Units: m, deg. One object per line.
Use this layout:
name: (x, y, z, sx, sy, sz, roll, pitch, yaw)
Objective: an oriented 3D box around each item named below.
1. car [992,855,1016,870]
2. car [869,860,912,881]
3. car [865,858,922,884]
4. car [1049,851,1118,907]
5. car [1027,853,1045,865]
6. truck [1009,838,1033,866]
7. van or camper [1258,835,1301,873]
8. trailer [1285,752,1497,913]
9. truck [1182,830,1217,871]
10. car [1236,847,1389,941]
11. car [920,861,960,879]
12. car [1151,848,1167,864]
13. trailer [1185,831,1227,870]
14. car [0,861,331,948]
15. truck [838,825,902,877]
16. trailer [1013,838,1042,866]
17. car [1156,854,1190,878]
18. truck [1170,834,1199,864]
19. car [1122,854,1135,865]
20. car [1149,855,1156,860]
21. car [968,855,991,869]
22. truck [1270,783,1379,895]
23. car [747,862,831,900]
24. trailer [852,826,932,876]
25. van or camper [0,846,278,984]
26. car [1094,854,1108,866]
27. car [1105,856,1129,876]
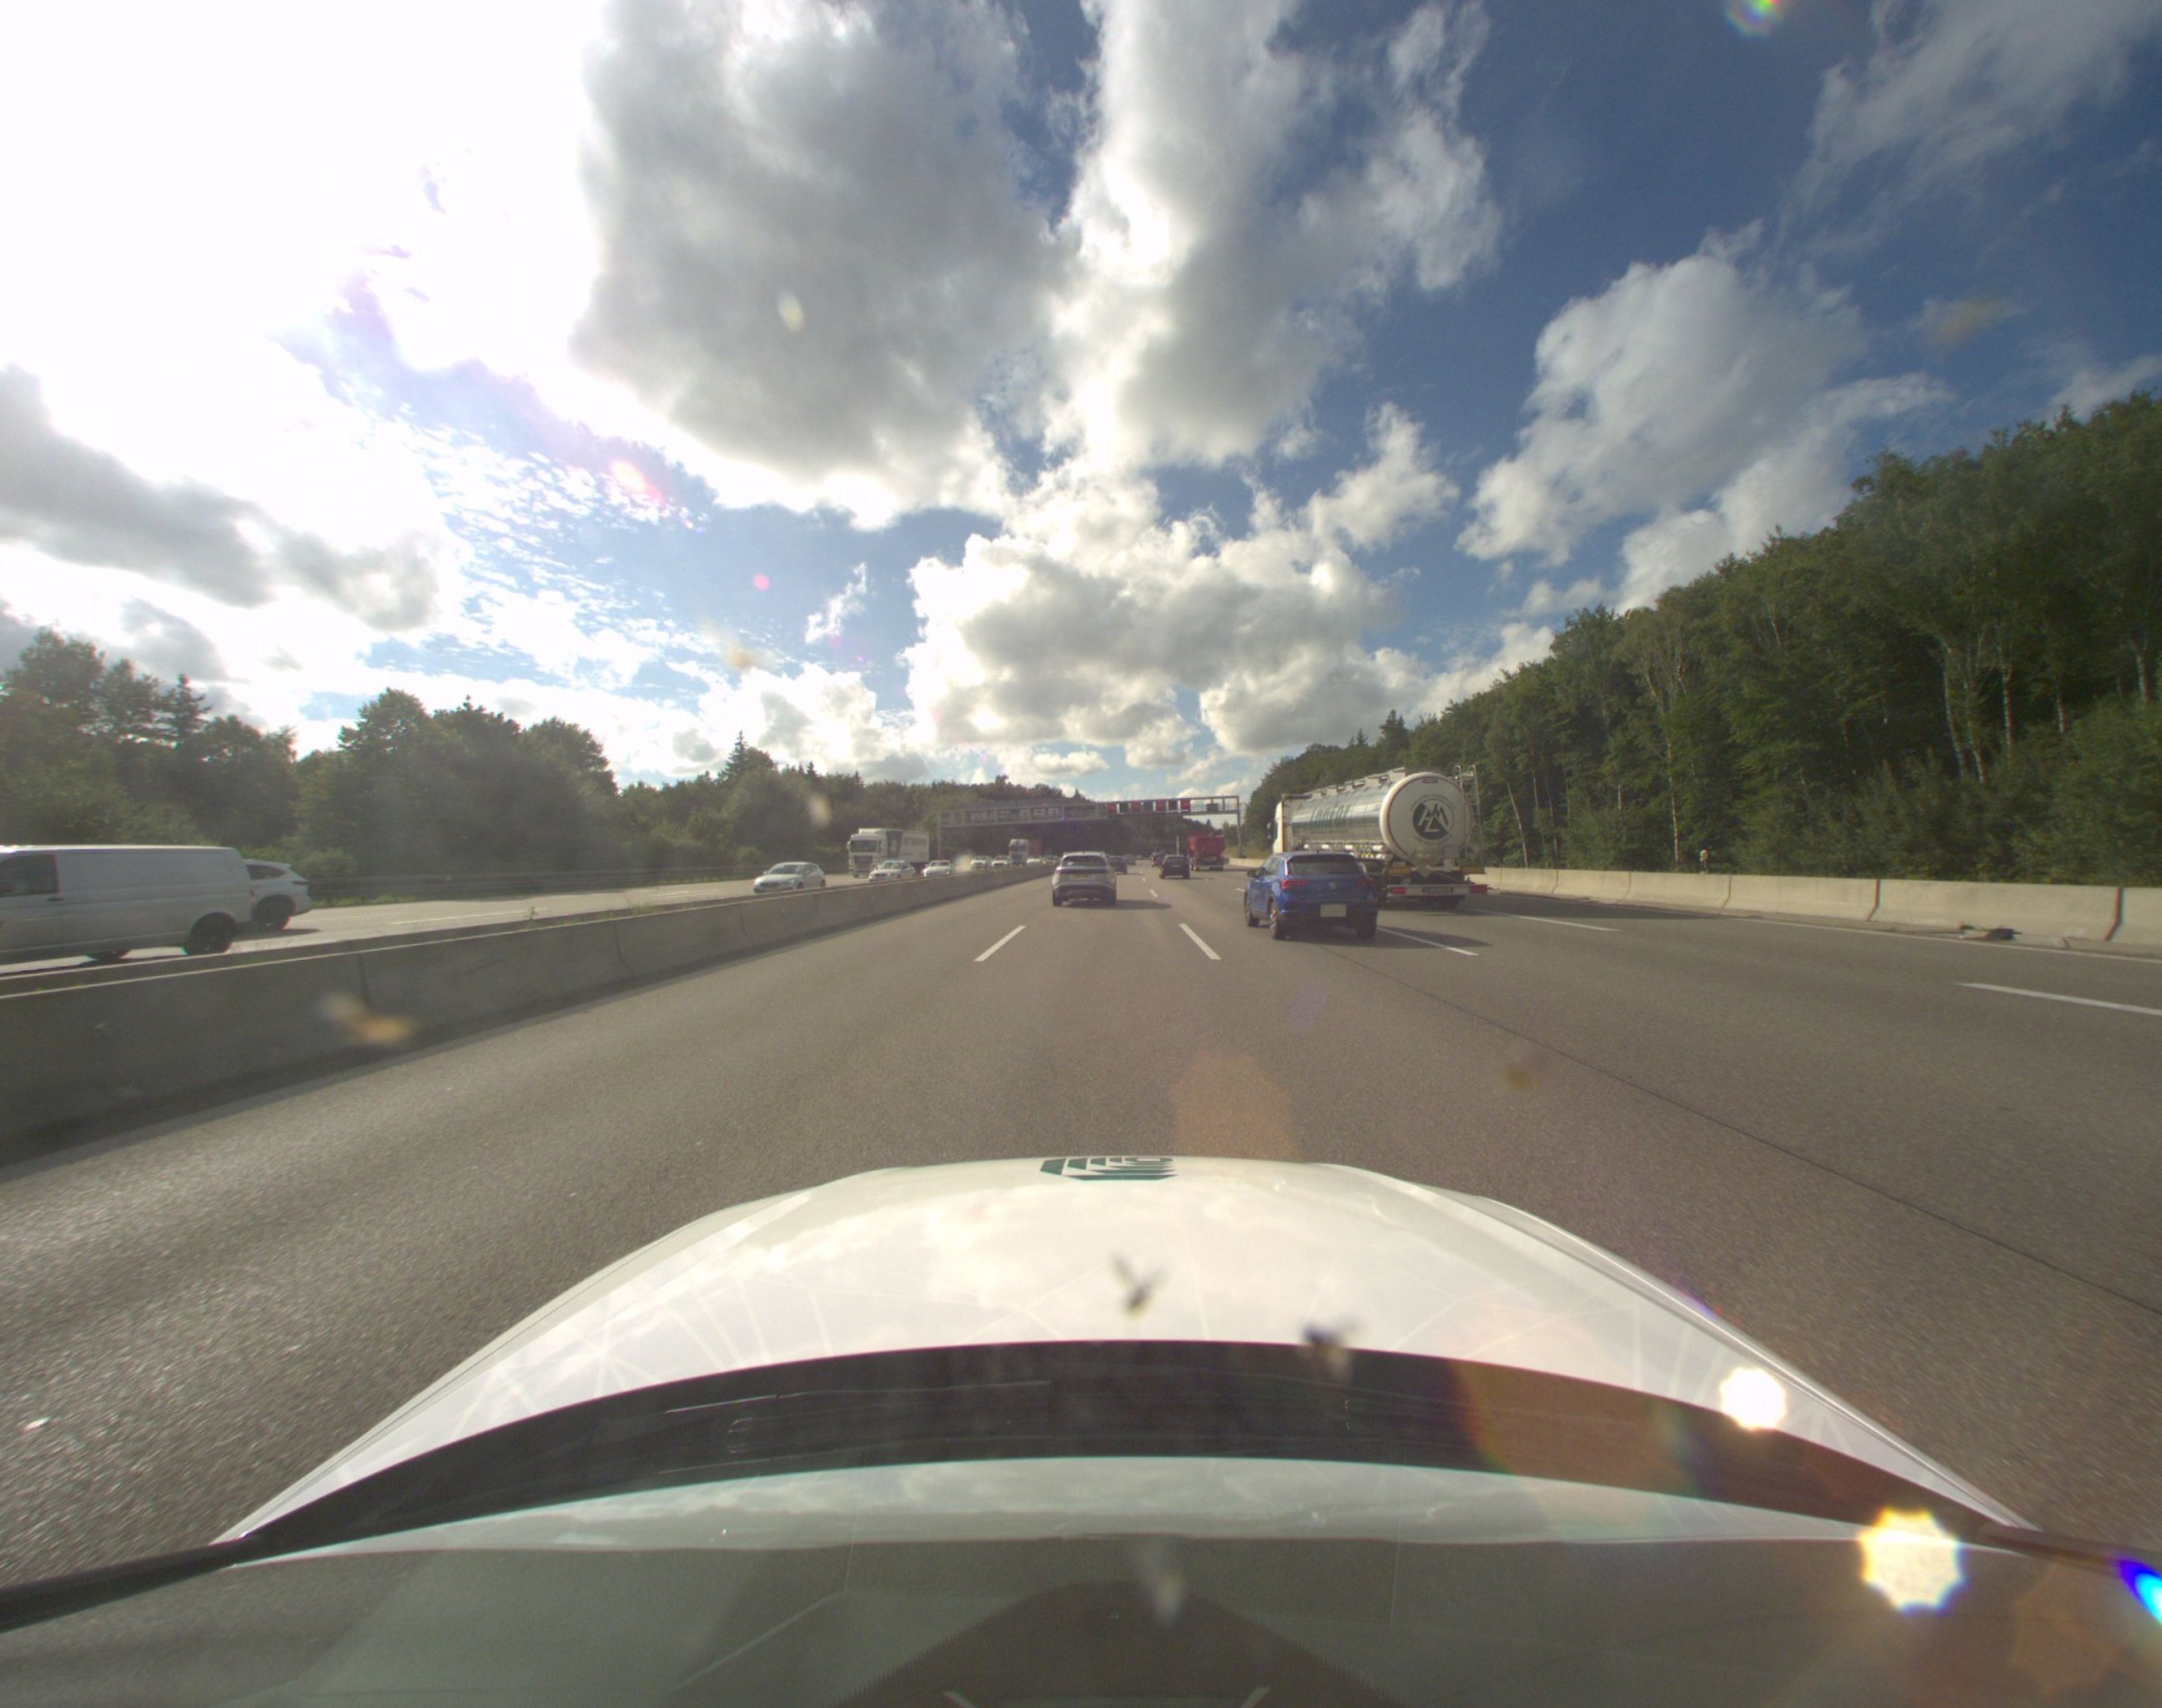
car: (-8.487, 0.885, 89.737, 1.700, 1.594, 4.950, -1, 0, 5)
car: (-14.222, 1.216, 60.944, 1.803, 1.453, 4.805, -1, 0, 3)
car: (-10.827, 0.959, 47.403, 1.672, 1.397, 4.724, -1, 0, 7)
car: (0.180, 0.737, 26.413, 1.998, 1.616, 5.304, -1, 0, 2)
car: (-6.282, 0.677, 114.394, 1.849, 1.525, 5.000, 0, 0, 4)
truck: (-9.023, -0.304, 123.531, 2.727, 4.106, 5.771, -1, 0, 4)
van or camper: (12.628, 0.009, 52.065, 1.814, 2.307, 4.944, -1, 0, 4)
trailer: (8.856, -0.515, 25.310, 2.637, 3.767, 11.870, -2, 0, 3)
truck: (11.375, -0.340, 78.482, 2.699, 3.718, 5.820, -1, 0, 2)
car: (4.243, 0.666, 15.675, 1.766, 1.530, 4.459, -1, 0, 2)
car: (-9.784, 1.078, 57.012, 1.804, 1.161, 4.518, -1, 0, 3)
car: (9.332, 0.247, 97.712, 1.884, 1.857, 4.106, 0, 0, 5)
trailer: (11.178, -0.315, 73.581, 2.699, 3.231, 9.738, -1, 0, 2)
car: (-20.601, 1.034, 18.669, 2.162, 1.684, 4.790, -1, 0, 3)
truck: (-17.425, -0.218, 67.754, 3.304, 4.106, 6.230, -1, 0, 3)
trailer: (-8.450, -0.304, 131.238, 2.727, 4.106, 13.432, -1, 0, 4)
car: (5.801, 0.757, 51.889, 1.816, 1.457, 4.001, -1, 0, 1)
truck: (14.298, -0.617, 113.596, 3.106, 3.935, 10.418, -1, 0, 3)
car: (6.615, 0.760, 113.450, 1.814, 1.457, 4.004, -1, -1, 4)
car: (21.385, 1.107, 243.246, 2.067, 1.457, 4.006, -3, 0, 5)
car: (-12.025, 0.958, 96.714, 1.786, 1.617, 5.050, -1, 0, 4)
truck: (9.216, -0.522, 31.556, 2.637, 3.823, 6.087, -2, 0, 3)
car: (-12.122, 1.079, 34.136, 1.763, 1.394, 4.691, -1, 0, 1)
trailer: (-17.026, -0.238, 74.829, 3.304, 4.106, 14.166, -1, 0, 3)
van or camper: (-16.114, 0.869, 12.595, 1.988, 1.937, 5.455, -1, 0, -1)
car: (2.821, 0.822, 114.424, 1.934, 1.457, 4.003, -2, 0, 2)
car: (2.967, 0.921, 66.311, 1.814, 1.546, 4.004, -1, 0, 3)
